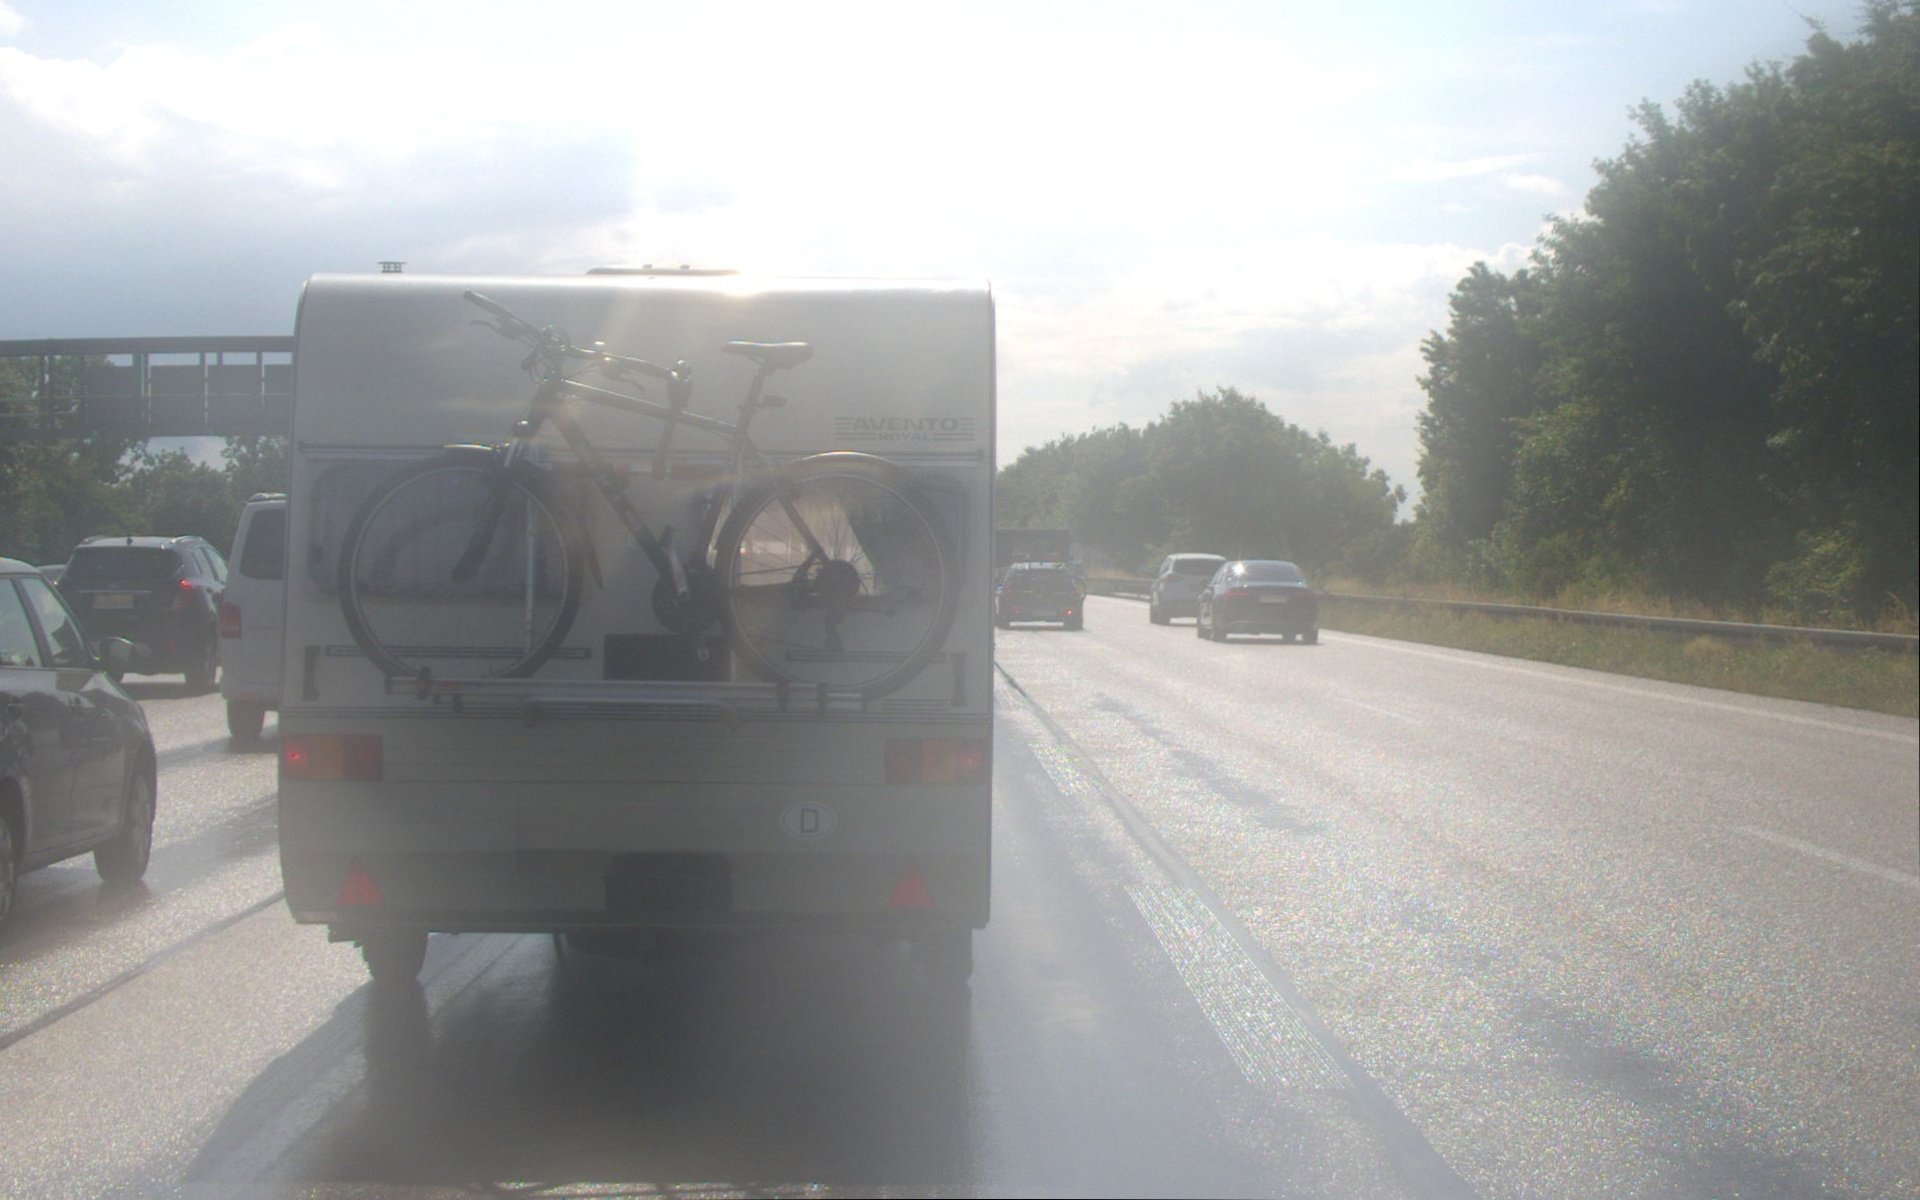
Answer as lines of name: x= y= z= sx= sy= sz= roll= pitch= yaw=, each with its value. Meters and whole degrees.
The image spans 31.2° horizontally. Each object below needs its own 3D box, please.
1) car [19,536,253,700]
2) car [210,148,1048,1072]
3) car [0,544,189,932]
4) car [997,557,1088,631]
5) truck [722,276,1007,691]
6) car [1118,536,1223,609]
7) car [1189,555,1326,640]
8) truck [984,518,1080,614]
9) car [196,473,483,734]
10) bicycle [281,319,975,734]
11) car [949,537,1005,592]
car: x=-8.854 y=0.169 z=37.244 sx=1.771 sy=1.656 sz=4.001 roll=1 pitch=0 yaw=-3
car: x=-0.975 y=0.012 z=12.051 sx=2.410 sy=2.665 sz=4.000 roll=1 pitch=0 yaw=0
car: x=-4.596 y=0.493 z=14.163 sx=1.987 sy=1.453 sz=3.826 roll=1 pitch=1 yaw=0
car: x=1.772 y=-0.142 z=74.893 sx=1.835 sy=1.552 sz=4.000 roll=1 pitch=0 yaw=0
truck: x=-1.246 y=-1.367 z=43.813 sx=3.146 sy=4.610 sz=10.737 roll=0 pitch=1 yaw=-2
car: x=4.899 y=-0.648 z=80.495 sx=1.876 sy=1.623 sz=4.001 roll=1 pitch=0 yaw=-5
car: x=5.489 y=-0.063 z=63.895 sx=1.876 sy=1.489 sz=4.001 roll=1 pitch=0 yaw=-5
truck: x=1.879 y=-0.925 z=91.741 sx=2.415 sy=2.435 sz=6.053 roll=1 pitch=1 yaw=0
car: x=-5.111 y=0.009 z=28.775 sx=1.876 sy=2.007 sz=4.001 roll=1 pitch=0 yaw=-3
bicycle: x=-0.933 y=-0.207 z=9.846 sx=1.933 sy=1.137 sz=0.384 roll=1 pitch=0 yaw=0
car: x=0.524 y=-1.134 z=109.162 sx=1.719 sy=1.678 sz=4.000 roll=1 pitch=1 yaw=0
